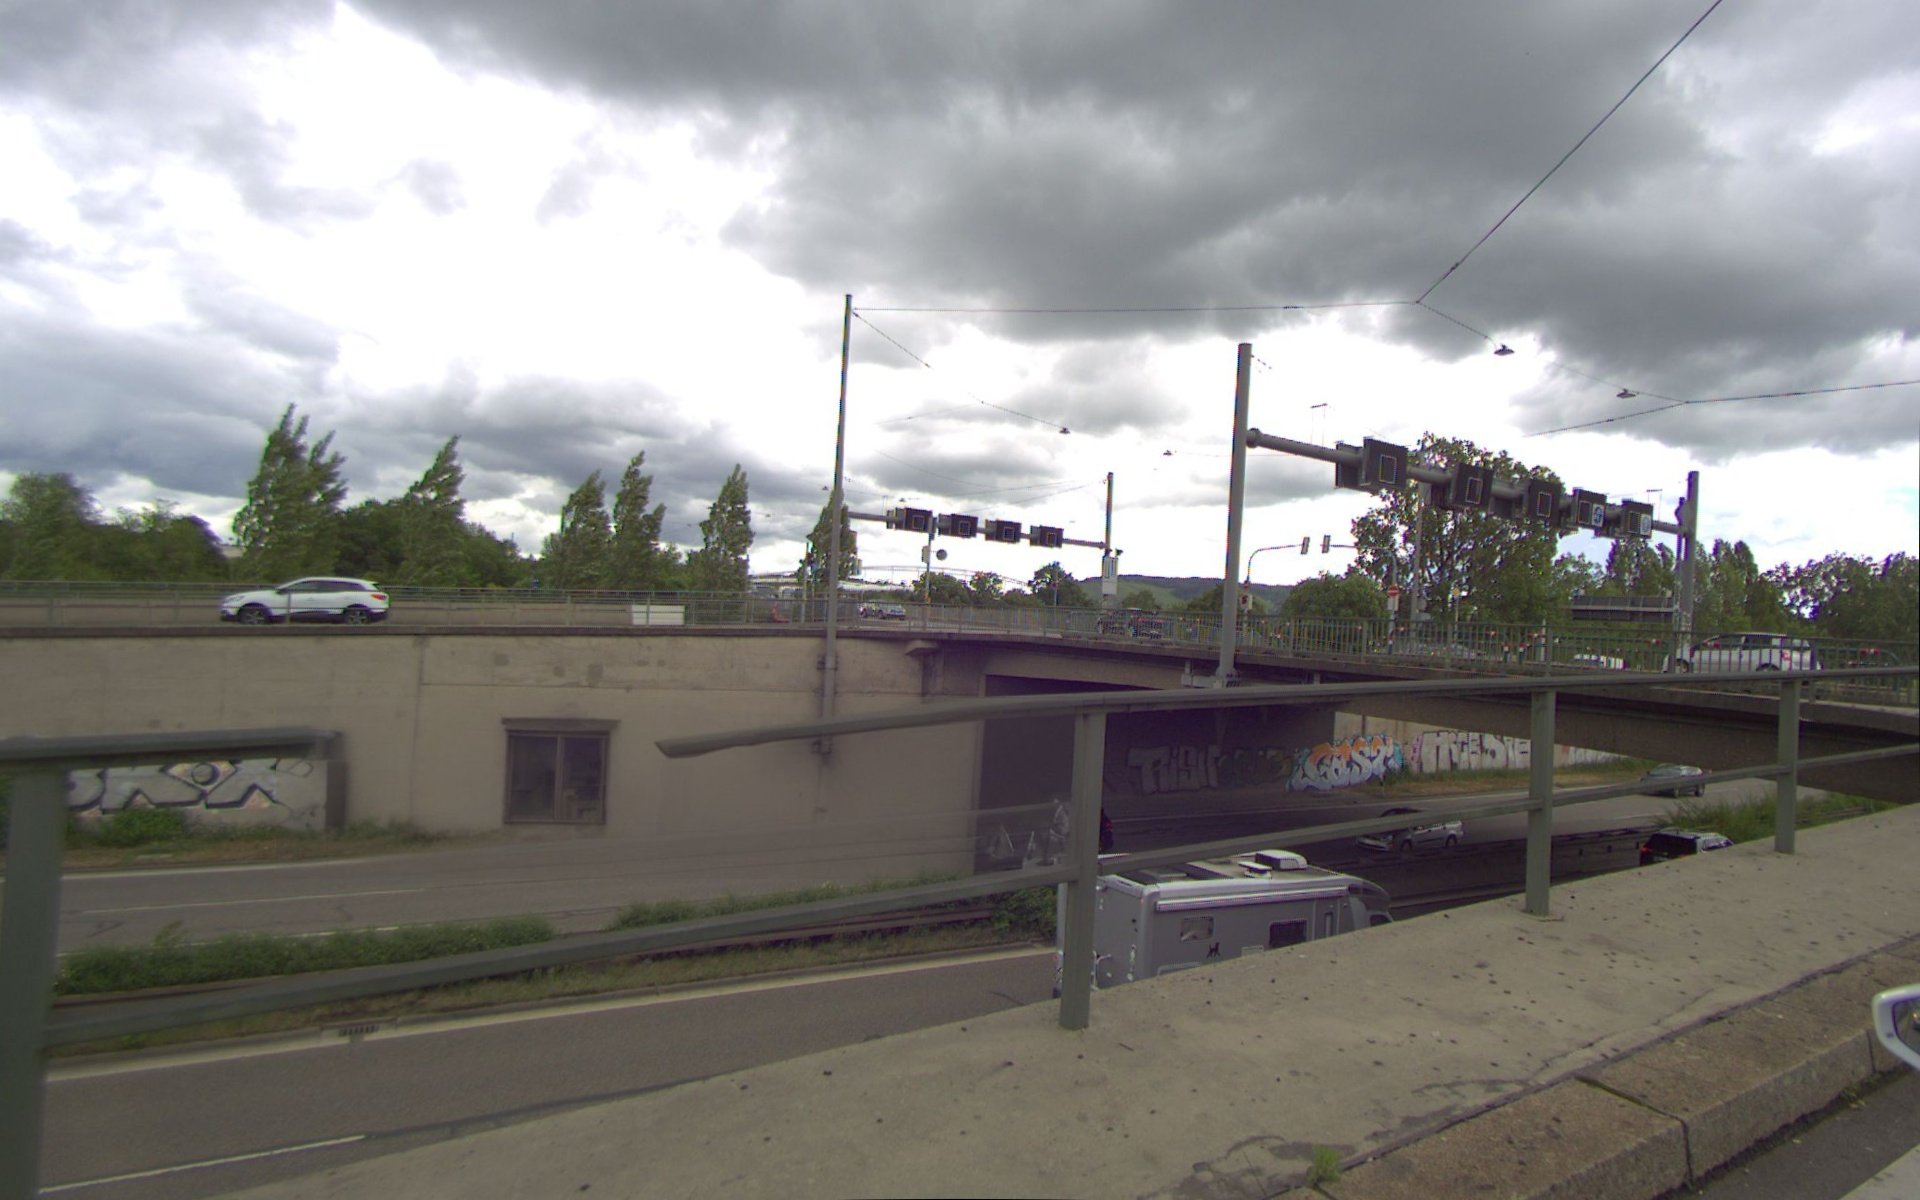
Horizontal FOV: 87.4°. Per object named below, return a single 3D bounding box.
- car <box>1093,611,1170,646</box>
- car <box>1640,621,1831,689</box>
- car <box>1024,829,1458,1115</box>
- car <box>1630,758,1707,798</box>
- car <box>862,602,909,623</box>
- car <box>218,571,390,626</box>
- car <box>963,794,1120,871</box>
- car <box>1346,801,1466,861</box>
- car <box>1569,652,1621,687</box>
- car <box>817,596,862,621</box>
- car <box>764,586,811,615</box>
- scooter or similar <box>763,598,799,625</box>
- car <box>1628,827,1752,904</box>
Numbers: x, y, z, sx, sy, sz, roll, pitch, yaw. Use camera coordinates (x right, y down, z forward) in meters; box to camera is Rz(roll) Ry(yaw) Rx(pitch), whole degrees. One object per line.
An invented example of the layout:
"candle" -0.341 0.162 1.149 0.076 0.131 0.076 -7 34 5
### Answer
"car" 9.057 1.507 53.390 1.915 1.740 3.966 1 0 -31
"car" 22.315 1.520 29.088 1.908 1.740 3.981 1 0 -21
"car" 4.969 5.930 17.139 7.567 3.282 2.352 4 -3 -28
"car" 39.820 9.967 56.421 4.360 1.865 1.921 4 -3 -31
"car" -5.001 0.838 67.123 1.537 1.372 3.860 1 0 -31
"car" -20.181 -0.008 31.148 4.292 1.597 1.825 1 0 -28
"car" 2.522 7.050 30.798 4.502 1.761 1.906 4 -3 -31
"car" 15.500 7.957 34.868 4.040 1.548 1.720 5 -2 -30
"car" 44.850 4.898 70.975 3.626 2.245 1.843 1 0 -35
"car" -7.891 0.540 65.603 1.560 1.587 3.715 1 0 -31
"car" -12.814 0.038 74.406 1.711 2.040 4.442 1 0 -35
"scooter or similar" -7.836 0.511 43.963 1.402 1.108 0.539 3 -2 -34
"car" 23.372 8.415 32.122 4.235 1.735 1.829 5 -3 -33
